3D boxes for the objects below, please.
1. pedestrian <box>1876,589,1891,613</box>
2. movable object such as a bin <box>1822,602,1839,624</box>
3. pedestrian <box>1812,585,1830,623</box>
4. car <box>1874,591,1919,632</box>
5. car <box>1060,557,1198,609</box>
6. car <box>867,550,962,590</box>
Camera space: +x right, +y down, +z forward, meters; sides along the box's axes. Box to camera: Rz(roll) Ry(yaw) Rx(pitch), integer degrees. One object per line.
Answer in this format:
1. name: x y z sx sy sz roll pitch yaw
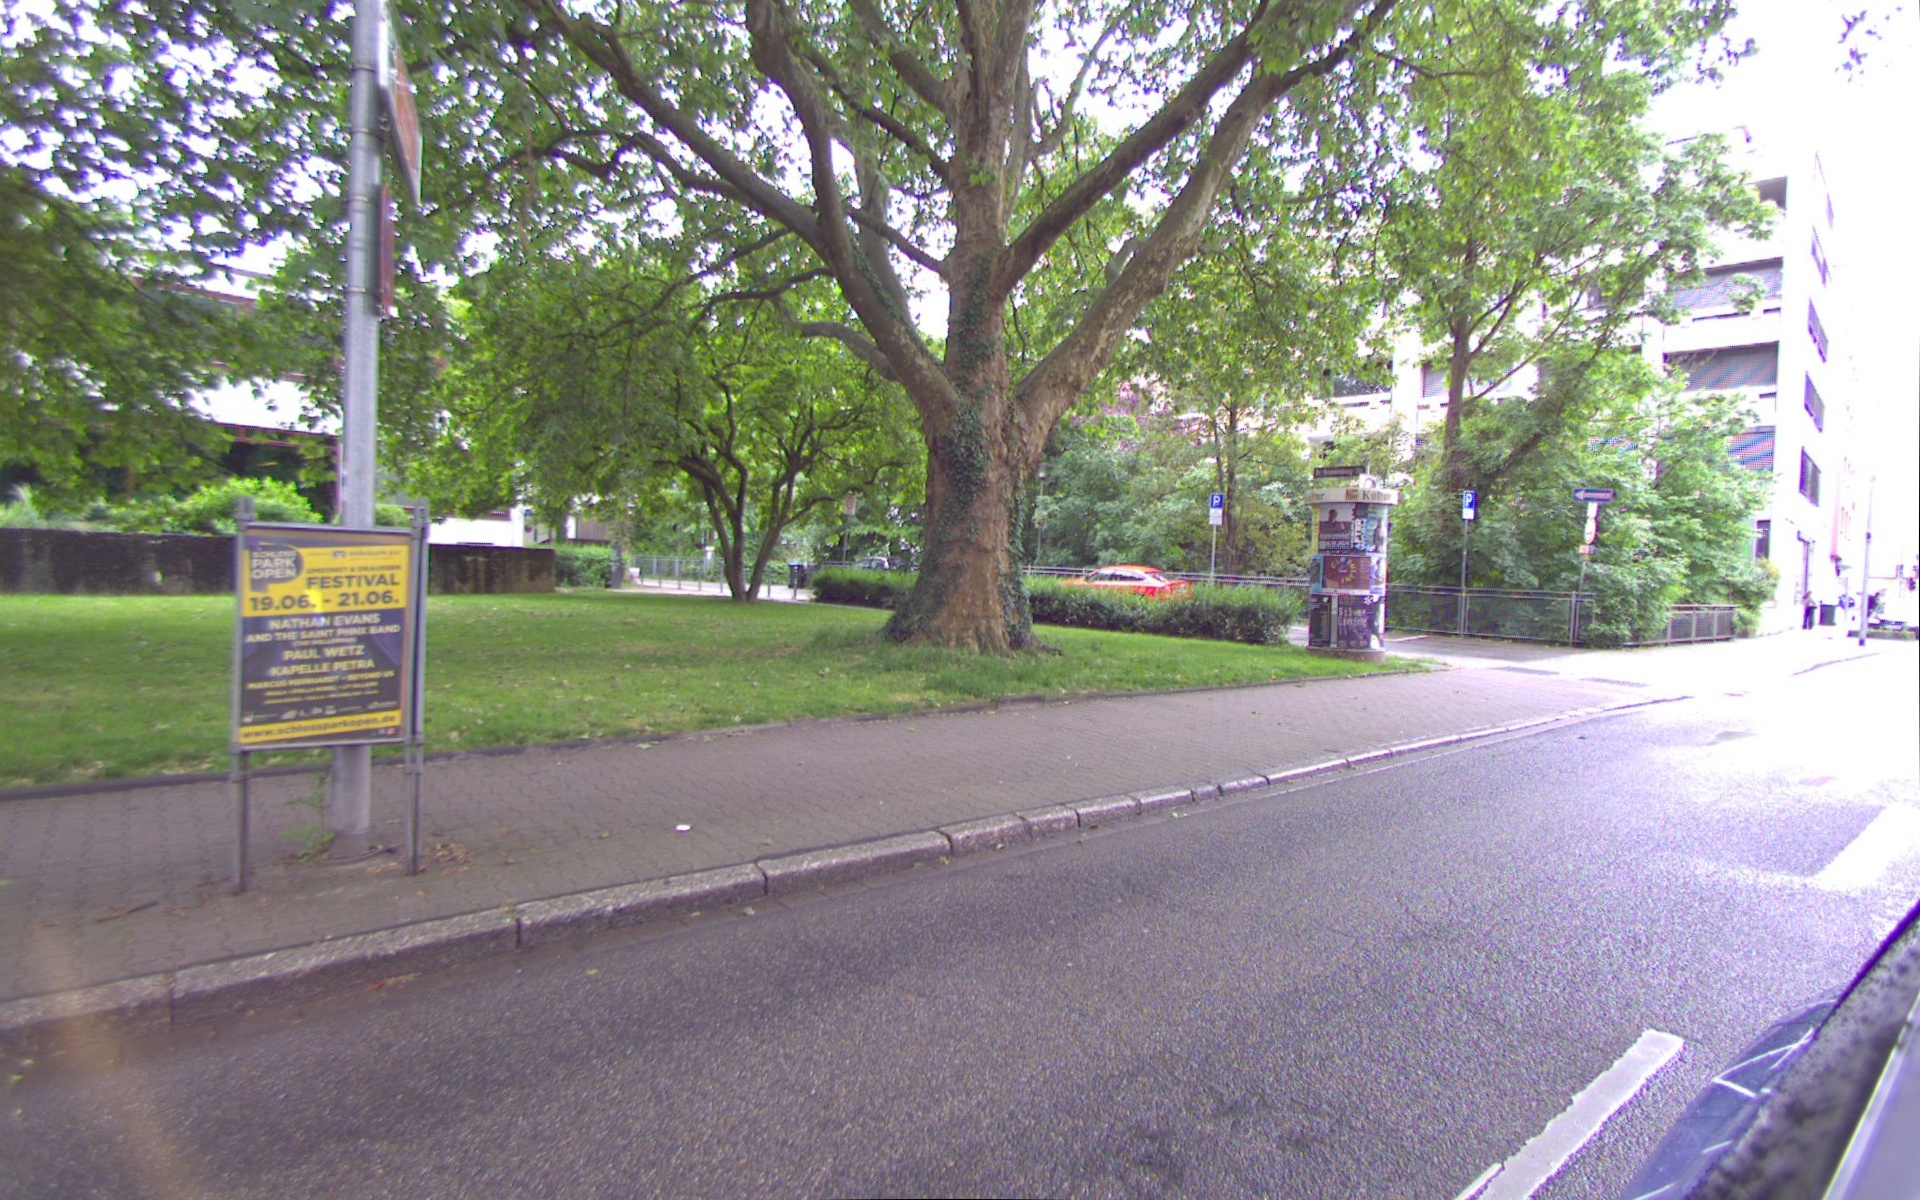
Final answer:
1. pedestrian: 55.268 0.046 60.573 0.495 1.392 0.557 0 3 -41
2. movable object such as a bin: 41.905 0.623 48.711 0.287 1.054 0.556 0 3 -41
3. pedestrian: 35.098 0.155 41.251 0.473 1.549 0.480 0 0 -41
4. car: 37.399 0.458 39.738 3.617 1.449 1.681 0 5 -41
5. car: 4.867 -0.535 29.525 1.551 1.294 3.784 -1 4 -44
6. car: -1.678 -1.113 36.591 3.460 1.294 1.426 5 4 45
